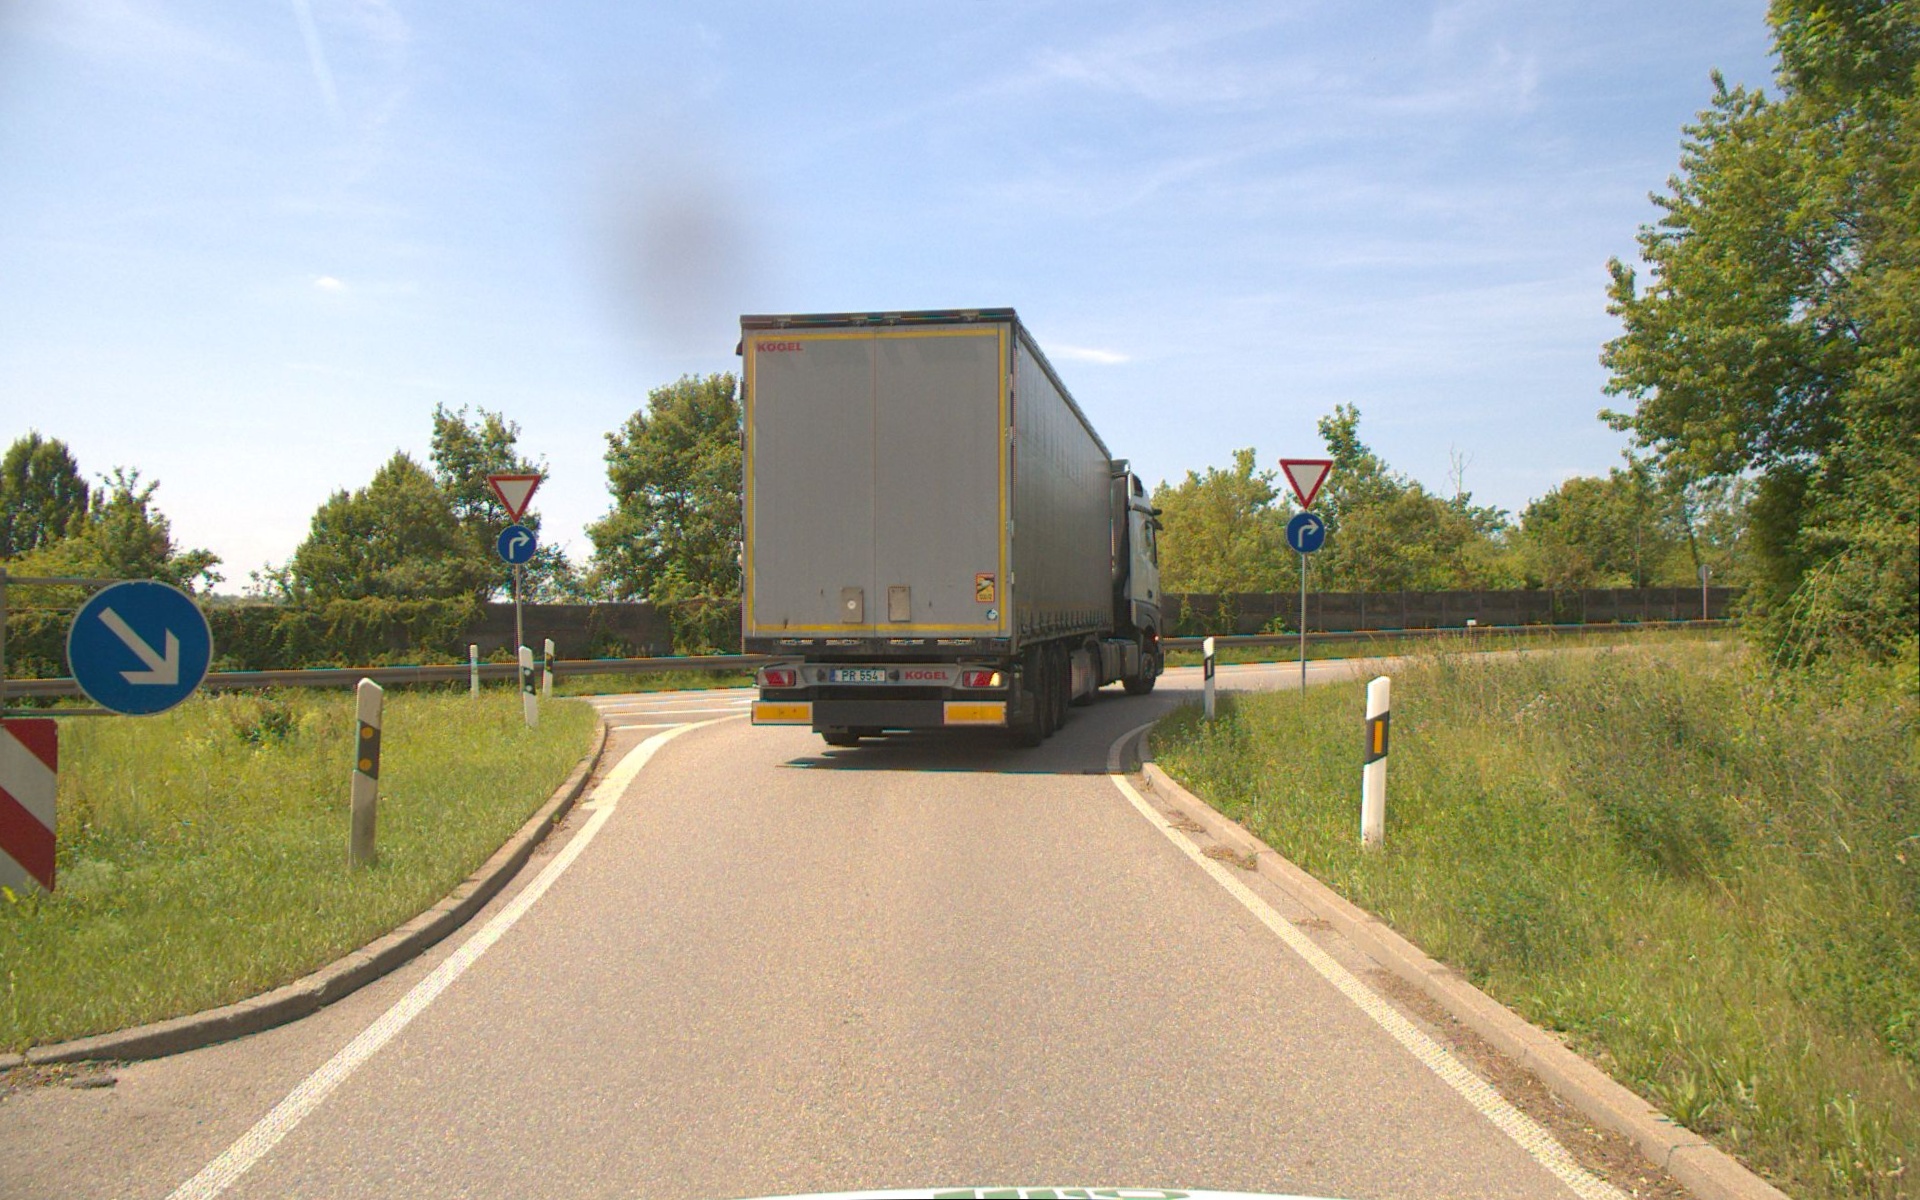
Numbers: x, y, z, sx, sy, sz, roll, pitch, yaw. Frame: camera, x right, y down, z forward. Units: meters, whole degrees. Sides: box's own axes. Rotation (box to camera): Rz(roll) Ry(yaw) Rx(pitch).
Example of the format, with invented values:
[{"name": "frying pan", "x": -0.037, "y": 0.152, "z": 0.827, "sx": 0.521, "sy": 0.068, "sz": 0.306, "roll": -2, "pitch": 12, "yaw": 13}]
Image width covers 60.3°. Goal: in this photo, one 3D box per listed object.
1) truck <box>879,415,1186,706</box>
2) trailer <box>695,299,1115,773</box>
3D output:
[{"name": "truck", "x": 1.490, "y": -0.529, "z": 28.262, "sx": 3.088, "sy": 4.299, "sz": 7.122, "roll": -1, "pitch": -1, "yaw": 21}, {"name": "trailer", "x": 0.100, "y": -0.495, "z": 21.156, "sx": 2.962, "sy": 4.105, "sz": 13.362, "roll": -1, "pitch": -1, "yaw": 9}]
